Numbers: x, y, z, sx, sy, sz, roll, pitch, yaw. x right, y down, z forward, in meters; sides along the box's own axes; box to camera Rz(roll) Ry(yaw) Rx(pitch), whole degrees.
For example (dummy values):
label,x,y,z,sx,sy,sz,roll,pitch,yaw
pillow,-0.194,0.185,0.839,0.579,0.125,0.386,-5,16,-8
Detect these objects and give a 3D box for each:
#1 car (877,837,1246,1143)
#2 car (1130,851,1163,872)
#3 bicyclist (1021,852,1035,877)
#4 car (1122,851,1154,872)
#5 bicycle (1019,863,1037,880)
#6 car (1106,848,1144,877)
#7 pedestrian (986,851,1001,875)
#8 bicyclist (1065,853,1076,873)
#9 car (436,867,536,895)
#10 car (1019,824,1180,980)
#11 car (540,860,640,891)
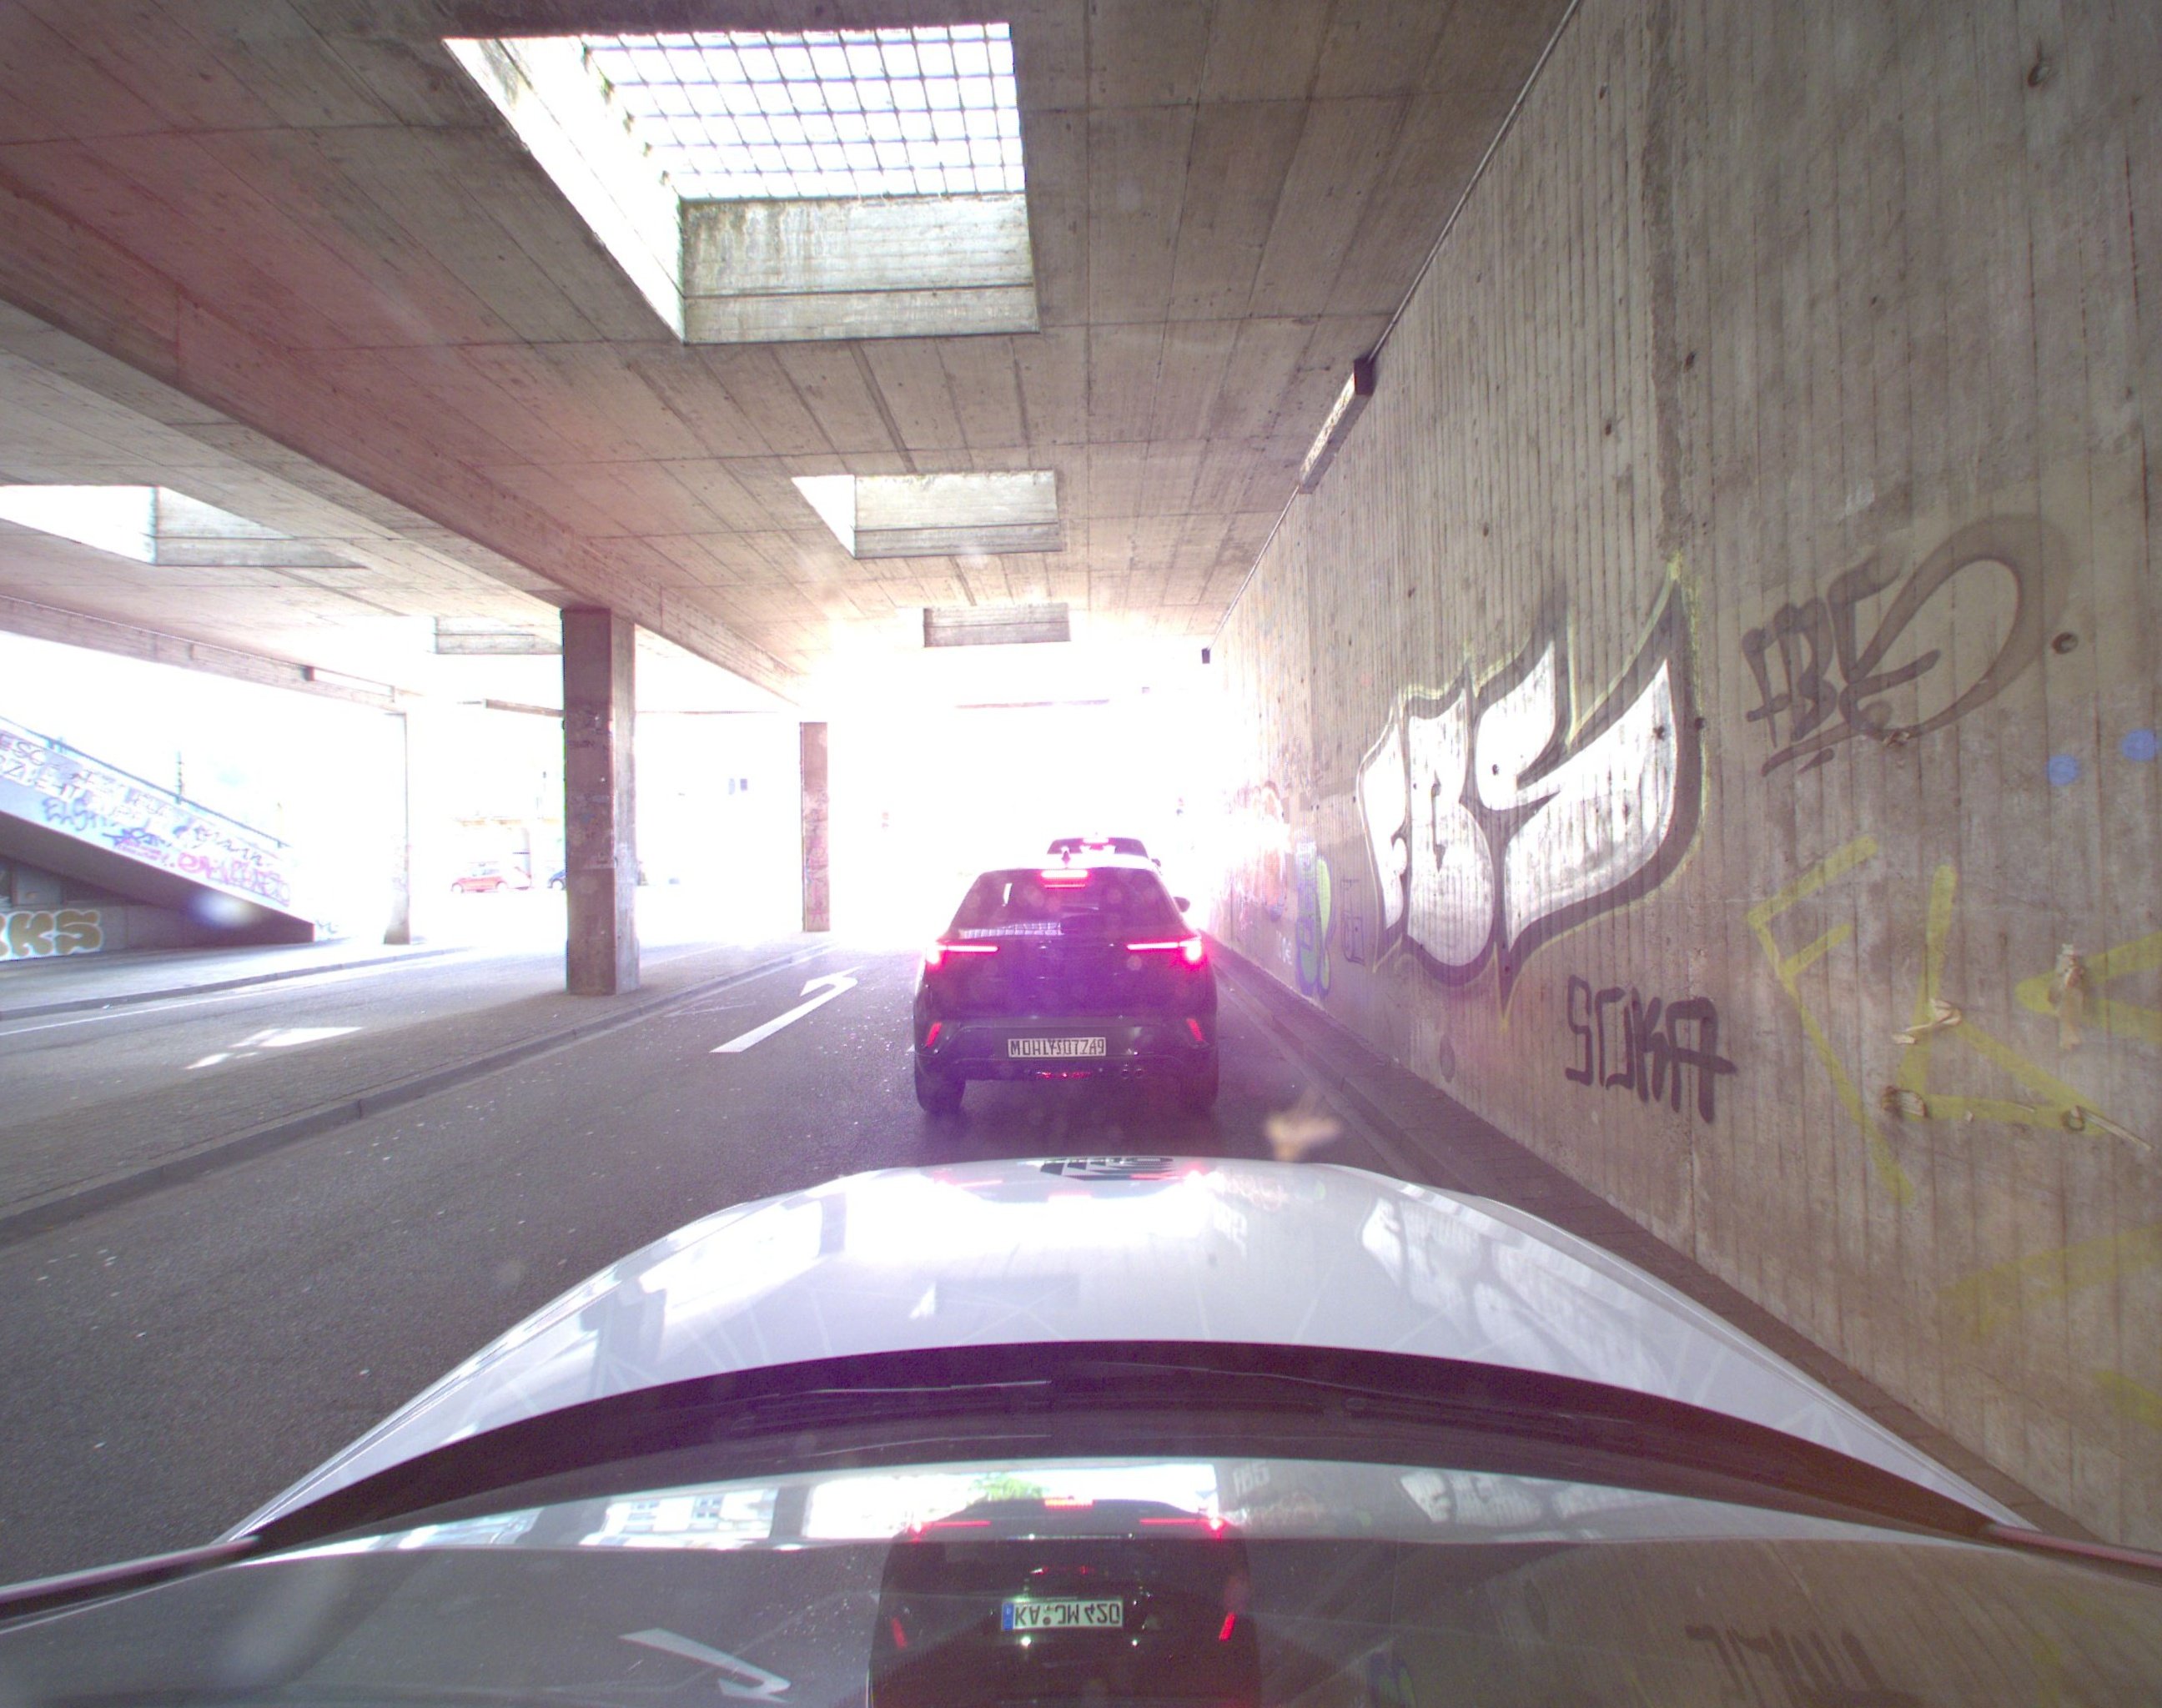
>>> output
label,x,y,z,sx,sy,sz,roll,pitch,yaw
car,-0.040,0.707,6.211,1.875,1.538,3.966,-2,0,2
car,5.591,0.677,69.060,2.206,1.719,4.474,-2,-2,12
bicyclist,-3.375,0.643,51.801,0.724,1.581,0.817,-1,-1,11
car,4.409,0.632,62.275,1.955,1.497,3.908,-2,-2,11
bicycle,-3.384,1.100,51.767,0.727,1.067,1.694,-1,-1,11
car,2.413,0.494,44.290,1.959,1.497,3.900,-2,-2,4
pedestrian,-7.628,0.785,70.884,0.986,2.013,1.091,-2,0,10
bicyclist,-0.801,0.715,63.425,0.724,1.581,0.817,-1,-1,11
car,-33.007,1.484,45.260,3.970,1.374,2.192,-2,0,3
car,0.292,0.589,12.031,1.938,1.860,3.966,-2,0,2
car,-27.203,1.191,45.261,4.114,1.550,2.268,-2,0,1
